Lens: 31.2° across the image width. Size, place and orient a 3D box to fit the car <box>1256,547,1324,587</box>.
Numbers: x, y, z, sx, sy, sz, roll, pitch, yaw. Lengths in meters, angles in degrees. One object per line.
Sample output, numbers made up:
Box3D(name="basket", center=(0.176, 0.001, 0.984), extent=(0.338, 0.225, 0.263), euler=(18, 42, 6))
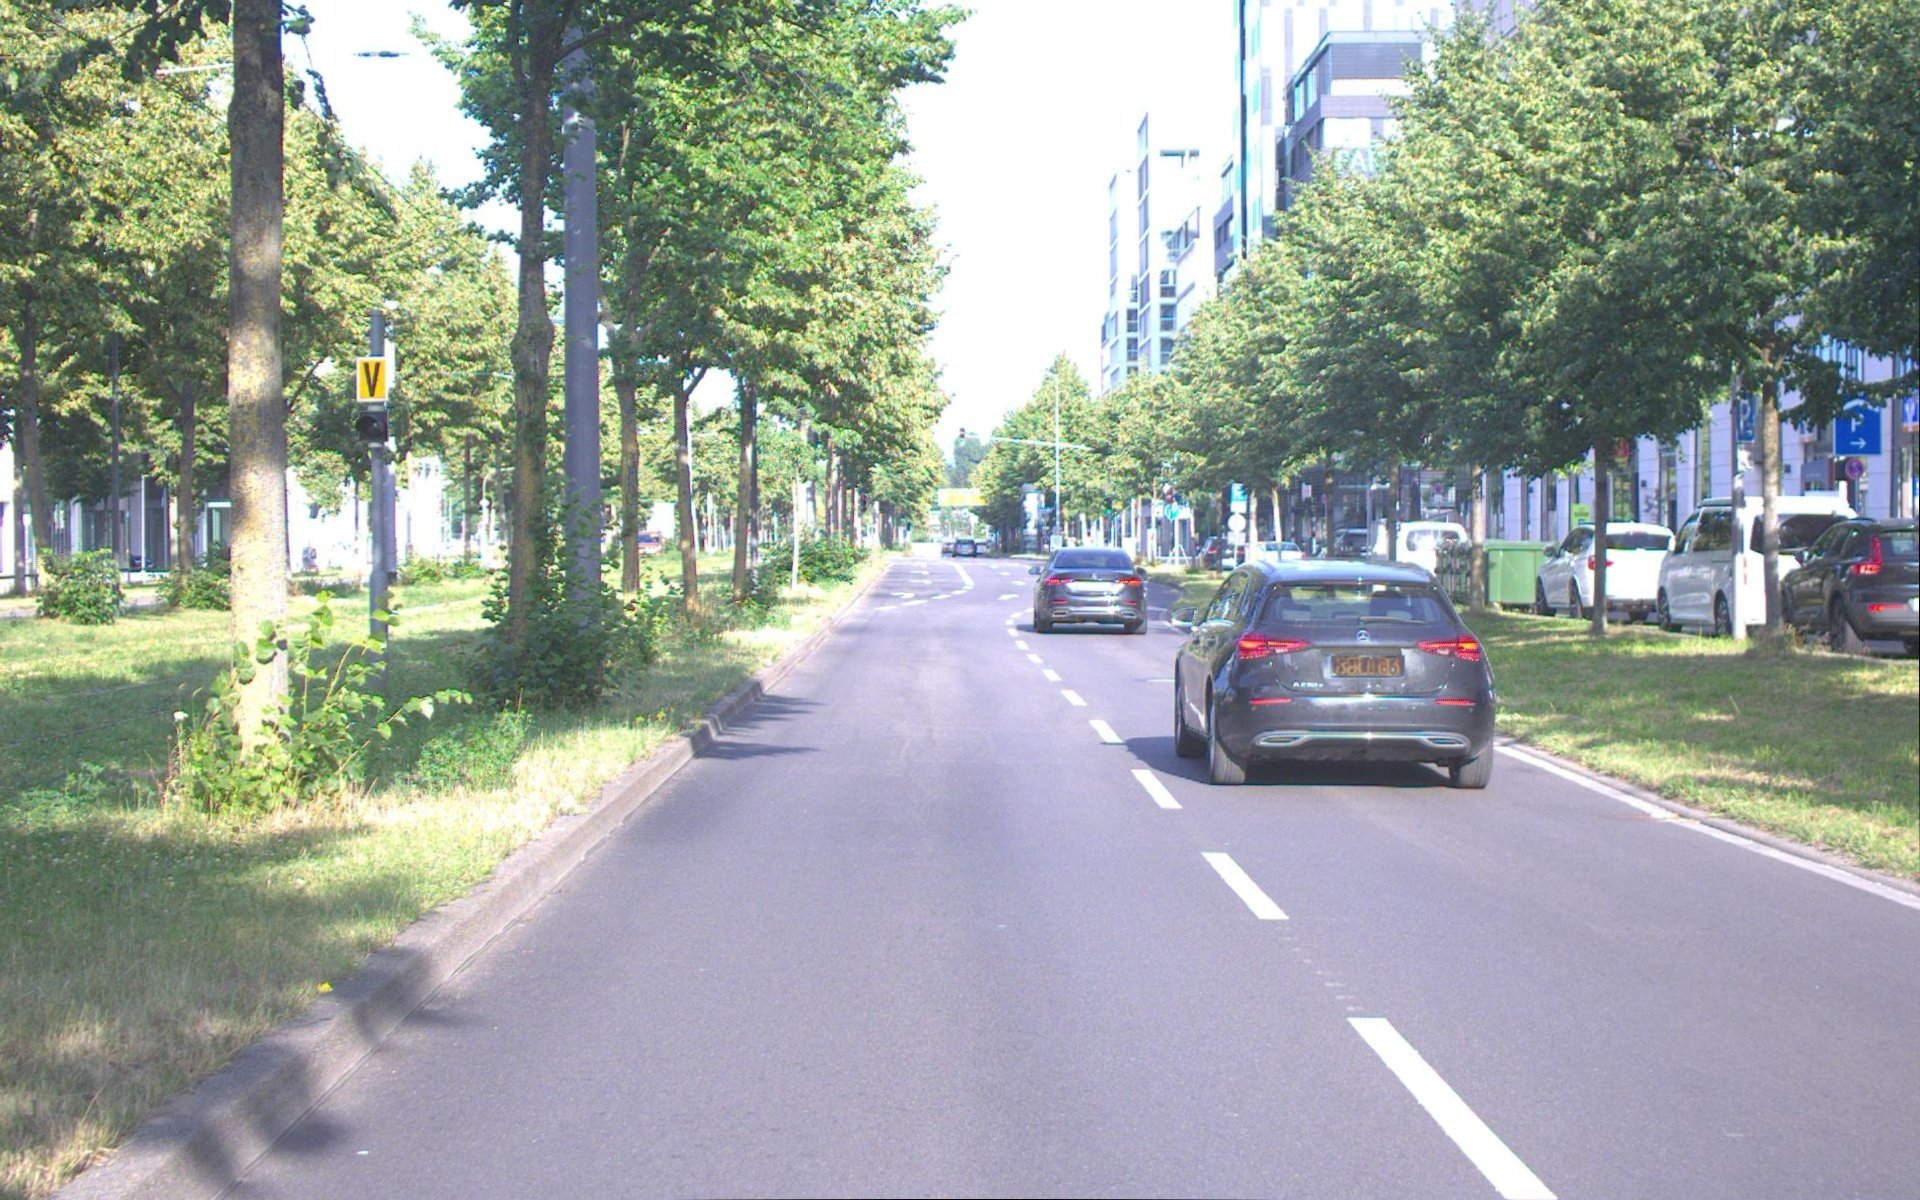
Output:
Box3D(name="car", center=(10.721, -1.077, 111.843), extent=(1.708, 1.238, 3.906), euler=(2, 0, -1))

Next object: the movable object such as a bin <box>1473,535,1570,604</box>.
Box3D(name="movable object such as a bin", center=(10.356, -0.558, 63.338), extent=(1.400, 1.232, 1.333), euler=(2, 0, 27))

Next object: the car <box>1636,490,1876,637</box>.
Box3D(name="car", center=(10.876, -0.506, 47.366), extent=(1.837, 1.869, 5.032), euler=(2, 0, -3))

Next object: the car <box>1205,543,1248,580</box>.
Box3D(name="car", center=(10.311, -1.495, 133.001), extent=(1.607, 1.366, 4.157), euler=(2, 0, 4))

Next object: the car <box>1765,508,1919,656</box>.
Box3D(name="car", center=(10.906, -0.207, 40.634), extent=(1.728, 1.644, 4.339), euler=(2, 0, 0))

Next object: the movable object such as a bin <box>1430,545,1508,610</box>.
Box3D(name="movable object such as a bin", center=(10.000, -0.450, 67.584), extent=(1.277, 1.232, 1.191), euler=(2, 0, -4))

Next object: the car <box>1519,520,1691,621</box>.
Box3D(name="car", center=(10.756, -0.519, 57.680), extent=(1.730, 1.624, 4.851), euler=(0, 1, -3))

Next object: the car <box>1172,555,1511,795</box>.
Box3D(name="car", center=(2.447, 0.439, 22.928), extent=(1.774, 1.419, 3.961), euler=(2, 0, 0))

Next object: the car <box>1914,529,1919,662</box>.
Box3D(name="car", center=(11.025, -0.007, 34.289), extent=(1.615, 1.407, 4.168), euler=(2, 0, -3))

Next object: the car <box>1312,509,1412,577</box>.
Box3D(name="car", center=(10.615, -1.540, 91.134), extent=(1.897, 1.702, 4.678), euler=(2, 2, -2))

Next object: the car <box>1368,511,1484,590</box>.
Box3D(name="car", center=(10.670, -1.128, 78.973), extent=(1.827, 1.706, 4.297), euler=(2, 0, -3))

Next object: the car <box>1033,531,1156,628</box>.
Box3D(name="car", center=(2.218, -0.348, 57.618), extent=(1.859, 1.519, 3.786), euler=(2, 0, 0))

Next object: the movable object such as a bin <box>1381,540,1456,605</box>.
Box3D(name="movable object such as a bin", center=(9.364, -0.560, 70.237), extent=(1.277, 1.287, 1.178), euler=(2, 0, -4))

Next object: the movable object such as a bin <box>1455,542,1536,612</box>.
Box3D(name="movable object such as a bin", center=(10.313, -0.446, 66.240), extent=(1.277, 1.313, 1.191), euler=(2, 0, -4))

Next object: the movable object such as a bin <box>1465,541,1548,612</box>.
Box3D(name="movable object such as a bin", center=(10.310, -0.446, 64.891), extent=(1.277, 1.297, 1.191), euler=(2, 0, -4))
